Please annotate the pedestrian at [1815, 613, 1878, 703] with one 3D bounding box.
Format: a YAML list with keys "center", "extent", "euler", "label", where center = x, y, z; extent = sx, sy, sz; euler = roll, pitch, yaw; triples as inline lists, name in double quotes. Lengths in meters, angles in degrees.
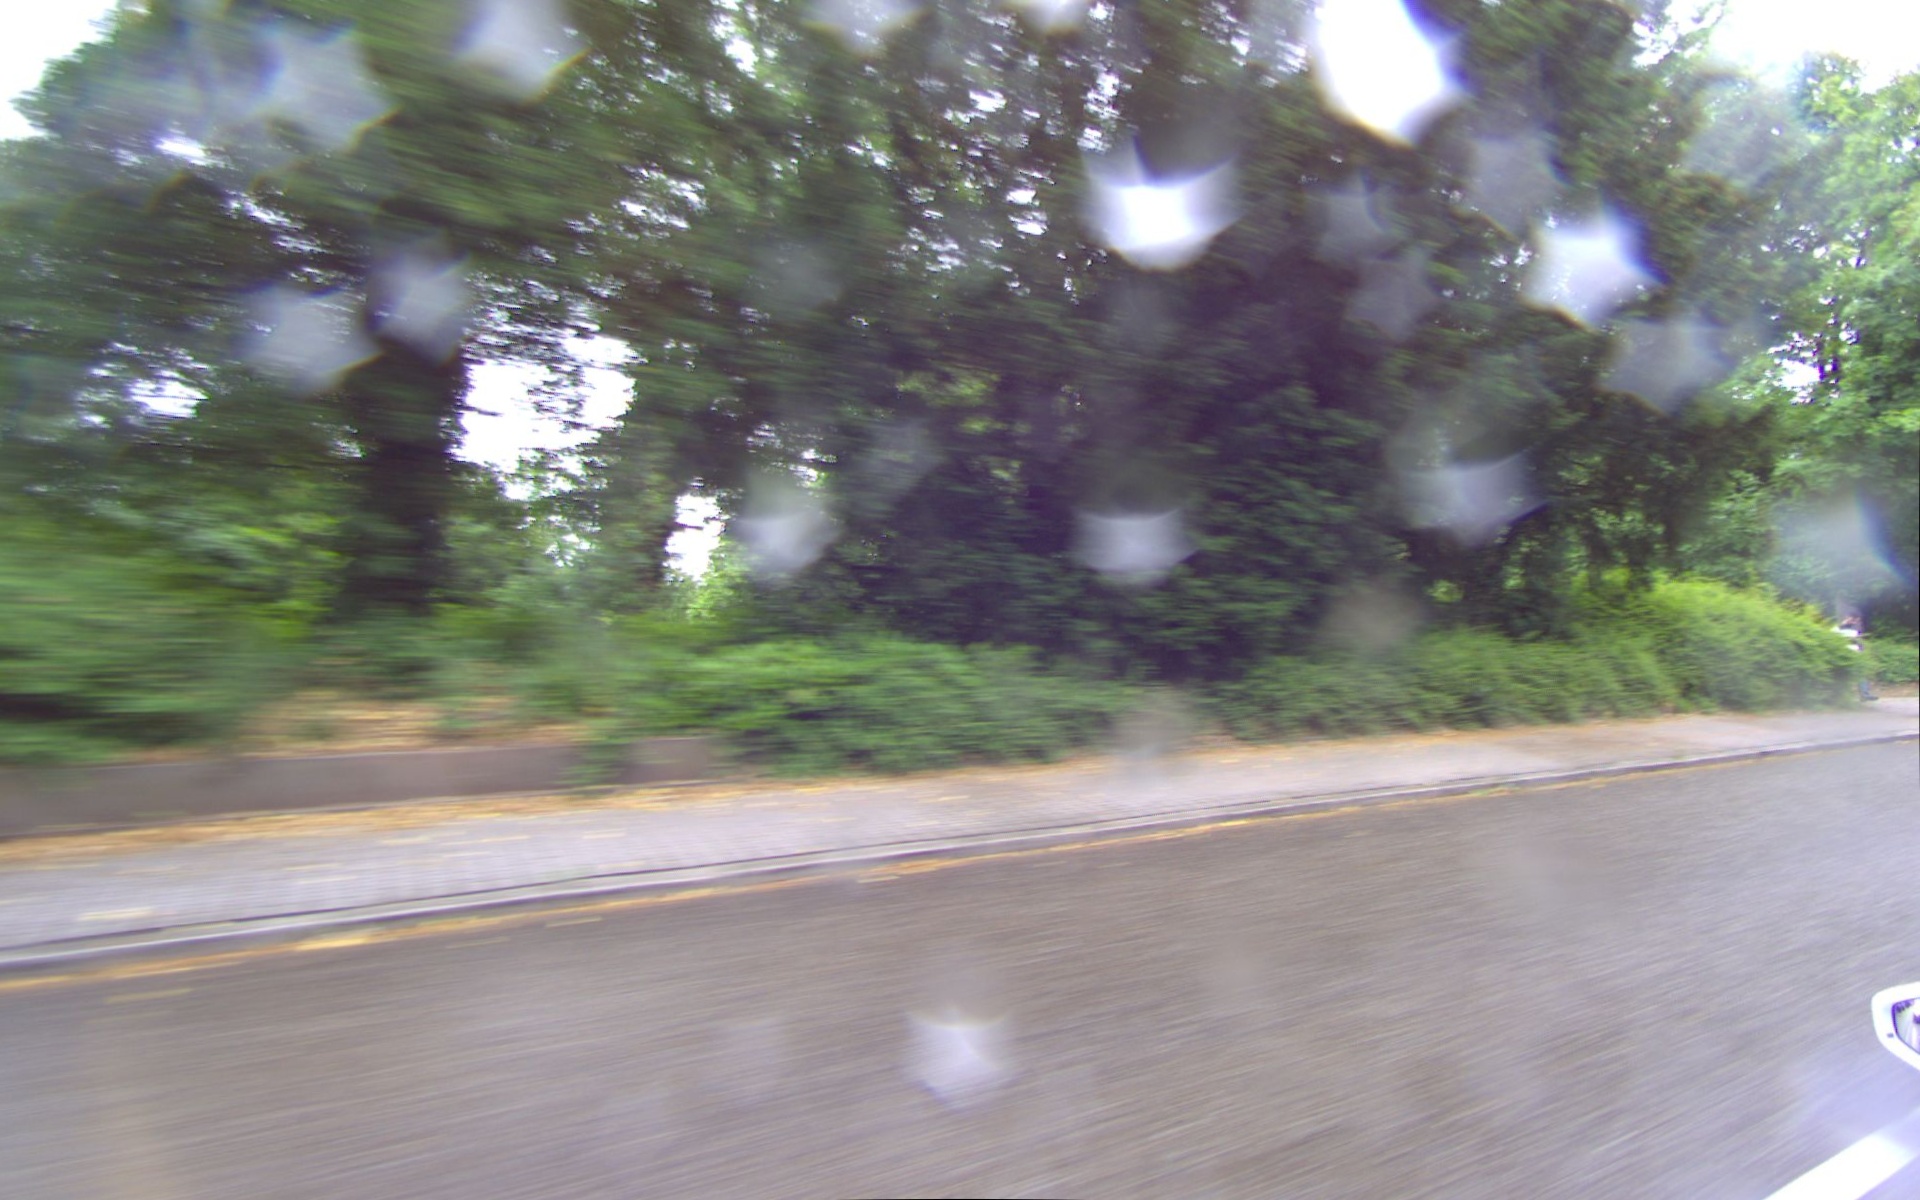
- center: [16.845, 1.080, 19.106]
  extent: [0.694, 1.666, 0.713]
  euler: [1, 0, 24]
  label: "pedestrian"
